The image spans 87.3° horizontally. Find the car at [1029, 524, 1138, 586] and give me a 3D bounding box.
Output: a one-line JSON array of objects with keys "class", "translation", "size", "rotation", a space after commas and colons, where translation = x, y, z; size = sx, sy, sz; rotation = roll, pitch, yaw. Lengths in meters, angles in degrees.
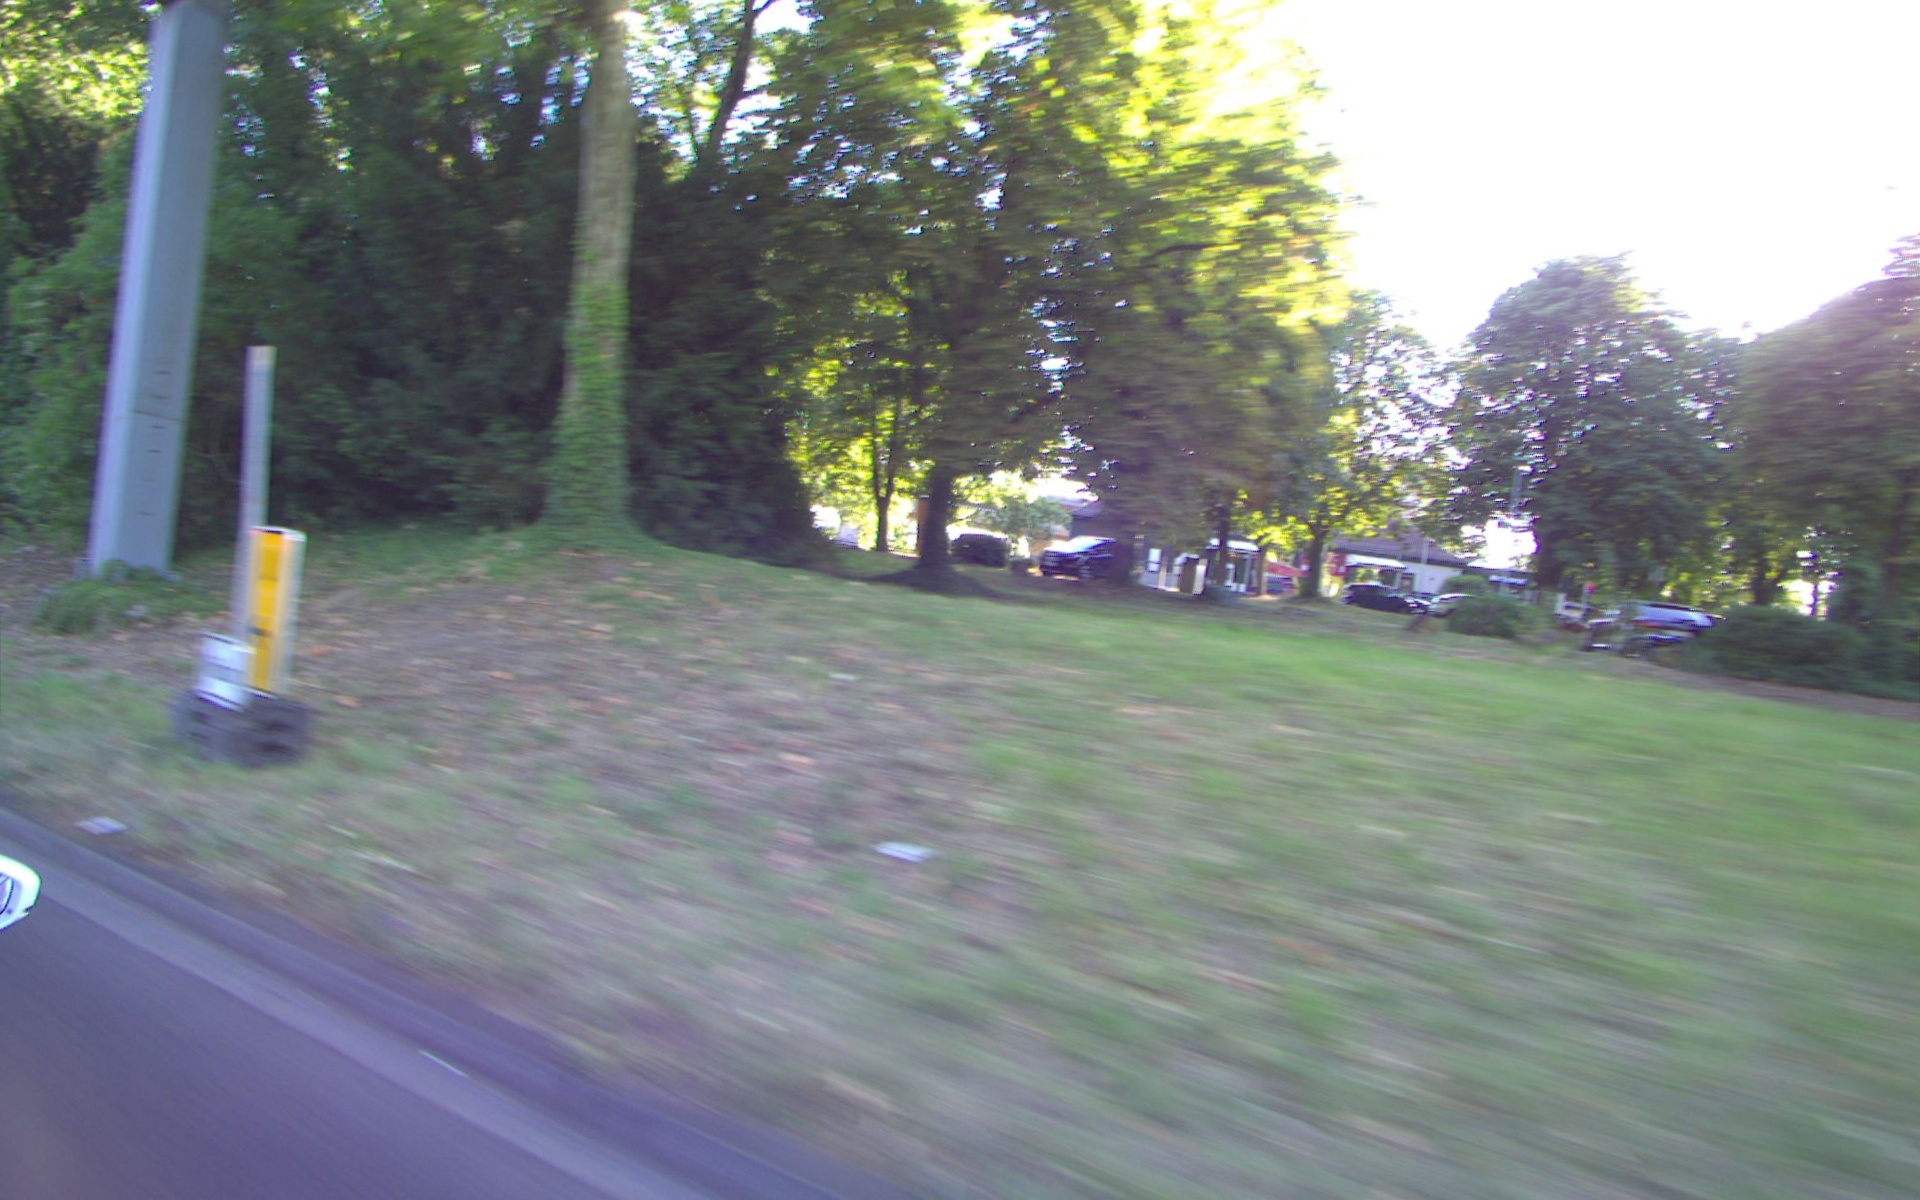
[{"class": "car", "translation": [4.069, -1.415, 32.548], "size": [1.778, 1.572, 3.987], "rotation": [8, 2, 33]}]

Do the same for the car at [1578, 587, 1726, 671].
[{"class": "car", "translation": [17.004, 0.694, 24.956], "size": [1.794, 1.710, 4.222], "rotation": [7, 2, 19]}]

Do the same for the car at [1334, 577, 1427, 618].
[{"class": "car", "translation": [21.207, -0.140, 50.864], "size": [3.923, 1.572, 1.807], "rotation": [7, 2, 10]}]

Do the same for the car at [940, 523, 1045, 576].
[{"class": "car", "translation": [1.313, -1.925, 38.941], "size": [1.783, 1.572, 3.977], "rotation": [8, 2, 42]}]

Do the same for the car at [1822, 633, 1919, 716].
[{"class": "car", "translation": [21.735, 1.711, 23.000], "size": [1.795, 1.710, 4.219], "rotation": [7, 2, 25]}]
